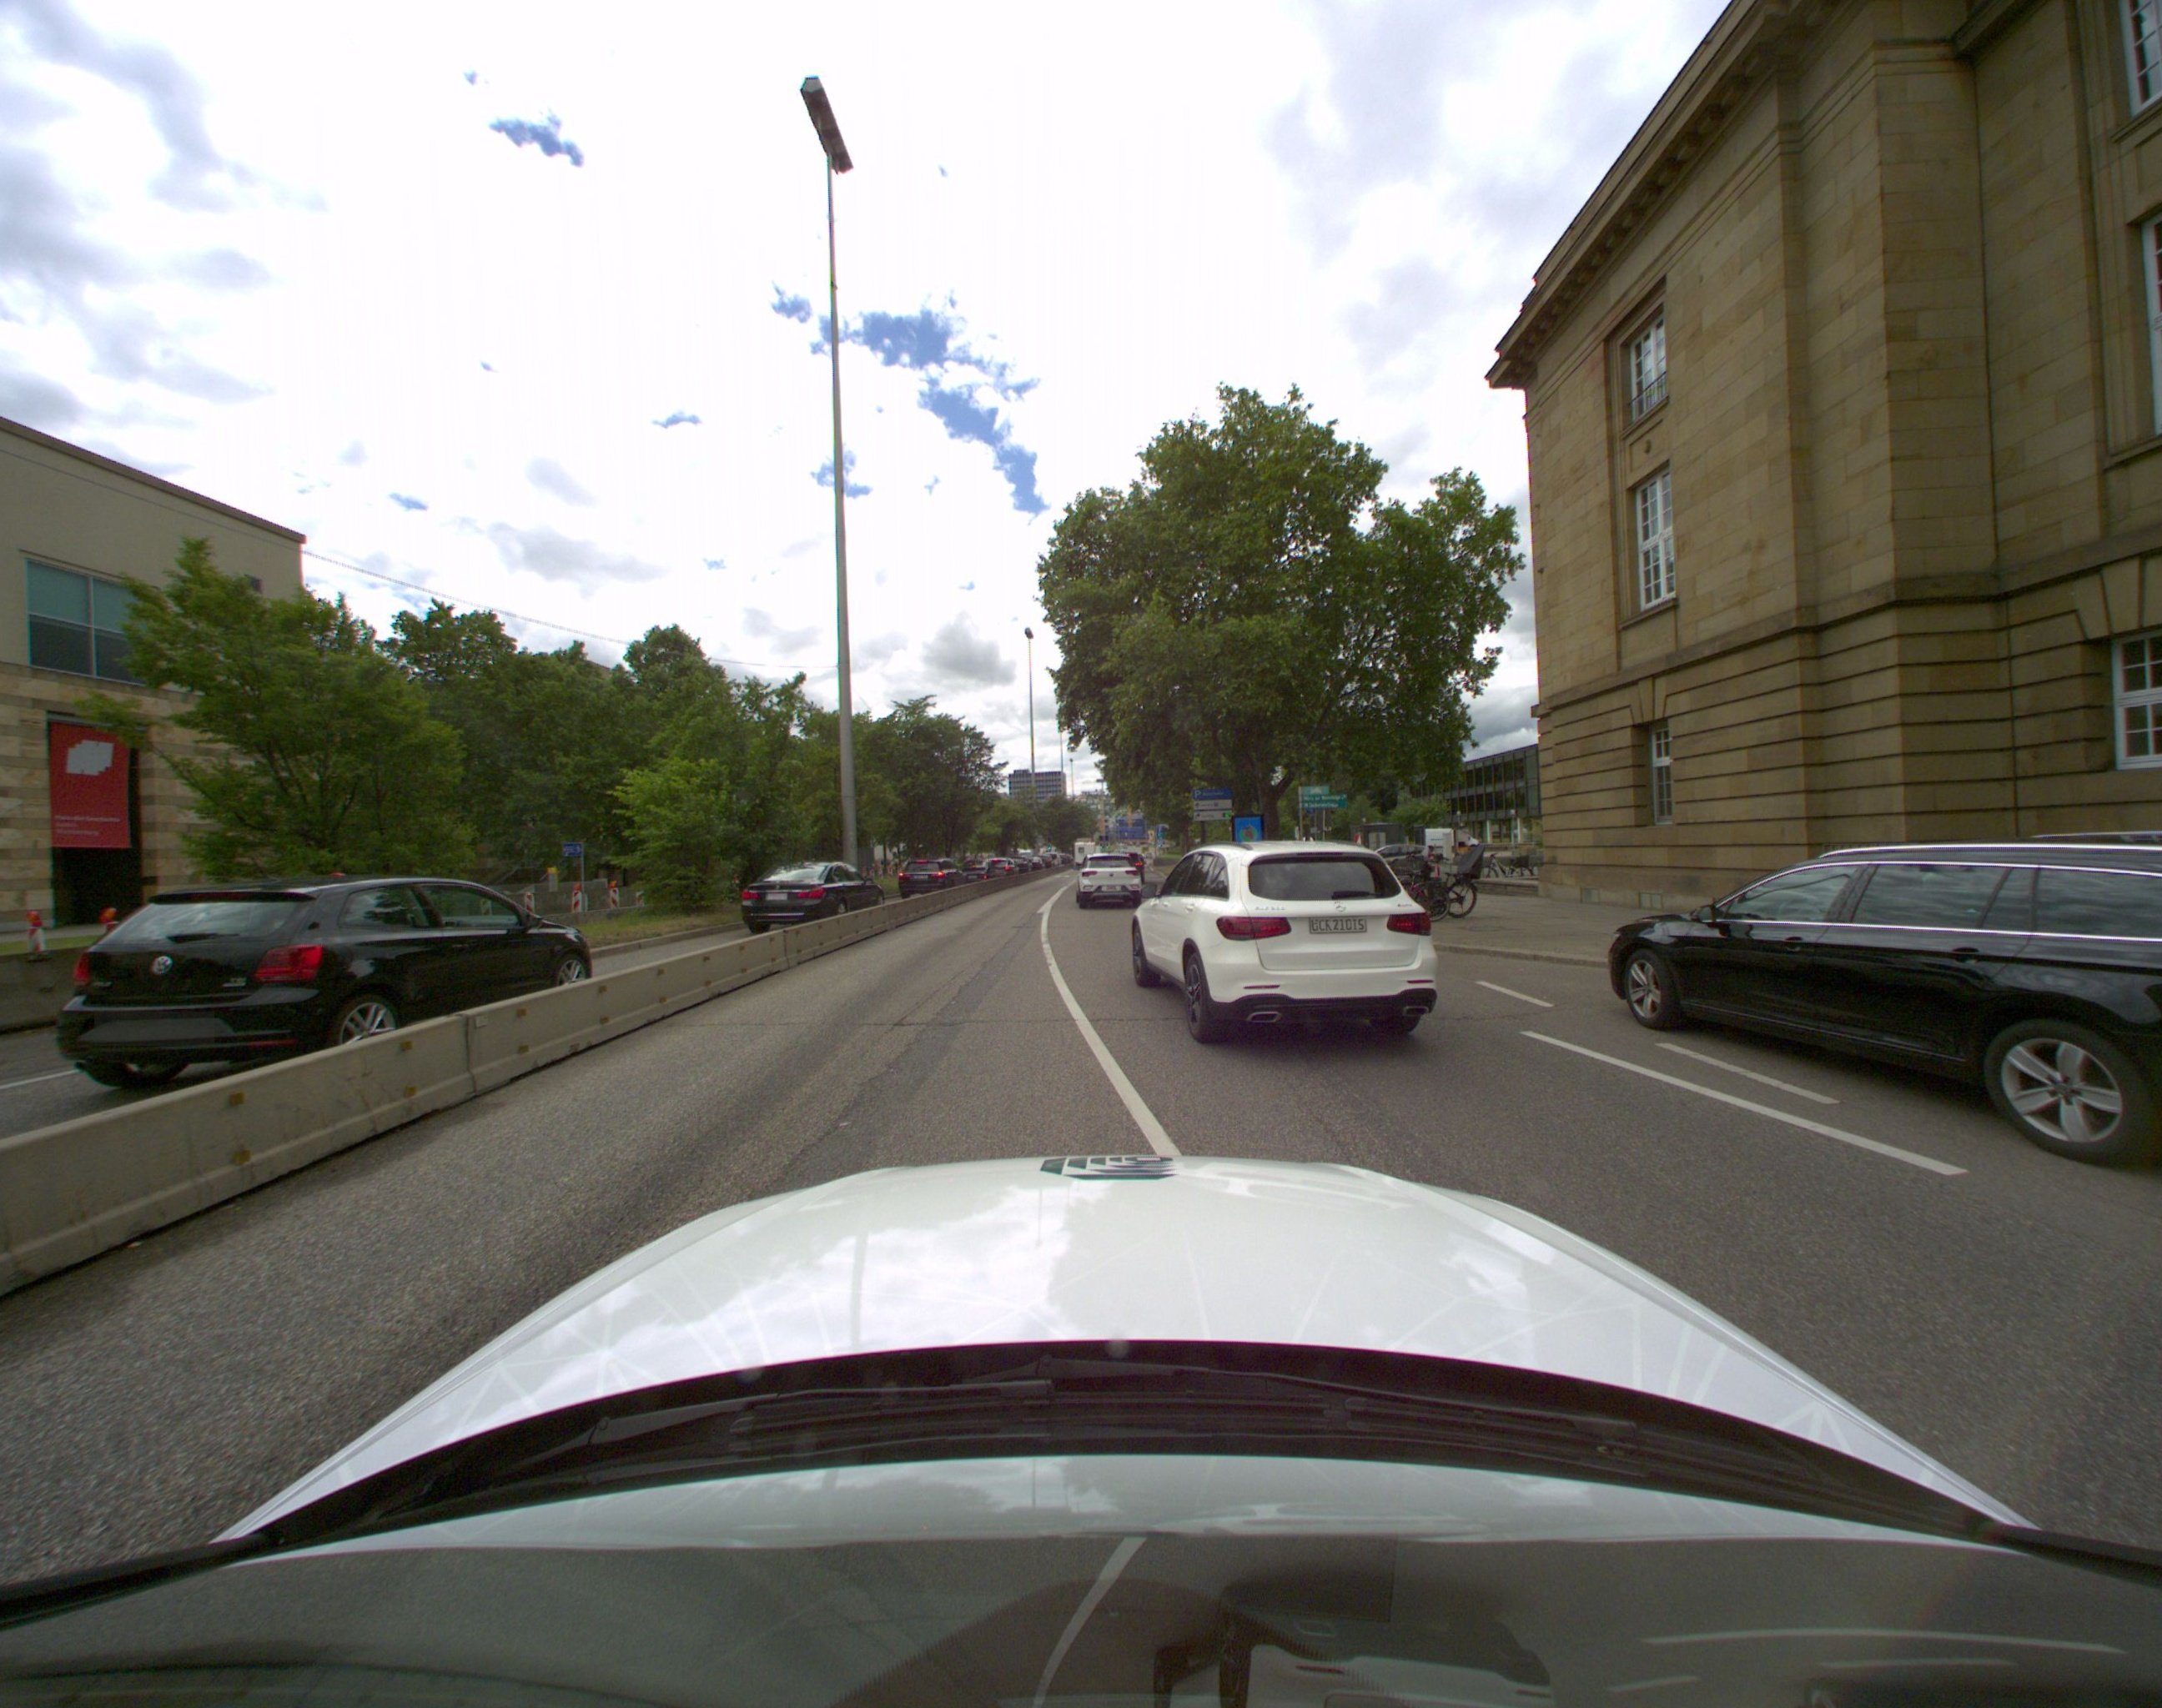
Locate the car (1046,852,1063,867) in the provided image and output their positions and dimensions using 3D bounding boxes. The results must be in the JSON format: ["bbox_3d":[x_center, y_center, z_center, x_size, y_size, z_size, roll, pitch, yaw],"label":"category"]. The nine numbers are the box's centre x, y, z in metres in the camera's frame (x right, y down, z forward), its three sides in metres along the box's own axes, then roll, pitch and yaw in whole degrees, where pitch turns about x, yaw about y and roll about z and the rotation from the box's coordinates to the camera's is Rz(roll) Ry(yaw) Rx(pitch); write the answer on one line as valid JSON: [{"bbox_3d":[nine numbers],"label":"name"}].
[{"bbox_3d":[-2.819,0.617,87.553,1.654,1.513,3.547,-2,-1,0],"label":"car"}]

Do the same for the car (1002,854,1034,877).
[{"bbox_3d":[-4.303,0.759,56.118,1.769,1.420,4.002,-2,0,2],"label":"car"}]

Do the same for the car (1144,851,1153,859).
[{"bbox_3d":[14.741,0.175,178.854,1.751,1.669,4.171,-2,0,3],"label":"car"}]

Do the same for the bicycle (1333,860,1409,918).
[{"bbox_3d":[6.038,0.710,16.936,1.617,1.130,0.466,-1,0,-24],"label":"bicycle"}]

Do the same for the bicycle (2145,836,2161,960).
[{"bbox_3d":[10.355,0.410,7.057,0.274,1.183,1.540,-3,-1,4],"label":"bicycle"}]

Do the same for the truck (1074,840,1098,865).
[{"bbox_3d":[0.683,-0.175,96.276,2.611,2.861,7.081,-1,0,2],"label":"truck"}]

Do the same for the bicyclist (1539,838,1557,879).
[{"bbox_3d":[20.183,0.190,35.210,0.435,1.748,0.474,-2,0,-6],"label":"bicyclist"}]

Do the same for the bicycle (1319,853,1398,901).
[{"bbox_3d":[6.410,0.532,18.884,1.715,1.091,0.382,-1,0,14],"label":"bicycle"}]

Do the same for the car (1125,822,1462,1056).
[{"bbox_3d":[1.667,0.612,8.057,1.785,1.625,4.428,-1,0,-6],"label":"car"}]

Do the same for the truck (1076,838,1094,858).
[{"bbox_3d":[0.649,-0.920,125.050,2.682,2.992,5.639,0,-1,2],"label":"truck"}]

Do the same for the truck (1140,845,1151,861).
[{"bbox_3d":[17.436,-0.234,219.291,2.865,4.103,6.643,0,0,3],"label":"truck"}]

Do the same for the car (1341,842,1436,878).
[{"bbox_3d":[14.407,0.274,38.309,3.821,1.568,1.680,-2,0,2],"label":"car"}]

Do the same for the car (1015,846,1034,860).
[{"bbox_3d":[-8.548,-0.171,123.105,2.107,1.969,5.582,-2,0,3],"label":"car"}]

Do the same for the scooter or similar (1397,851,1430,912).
[{"bbox_3d":[6.921,0.551,16.990,0.423,1.224,1.316,0,-1,12],"label":"scooter or similar"}]

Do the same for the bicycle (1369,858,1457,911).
[{"bbox_3d":[6.524,0.599,16.074,1.552,1.028,0.437,-1,0,13],"label":"bicycle"}]

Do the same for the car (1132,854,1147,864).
[{"bbox_3d":[7.920,0.688,109.805,1.938,1.319,4.020,-1,0,4],"label":"car"}]

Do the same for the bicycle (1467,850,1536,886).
[{"bbox_3d":[13.723,0.455,26.572,2.003,1.125,0.389,-2,-1,1],"label":"bicycle"}]

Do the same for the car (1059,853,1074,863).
[{"bbox_3d":[-1.893,0.542,106.994,1.652,1.319,3.551,-1,0,4],"label":"car"}]

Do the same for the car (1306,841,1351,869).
[{"bbox_3d":[15.386,0.030,50.760,1.753,1.551,4.031,-2,2,3],"label":"car"}]

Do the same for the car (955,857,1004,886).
[{"bbox_3d":[-5.097,0.849,41.435,1.671,1.367,4.545,-2,0,2],"label":"car"}]

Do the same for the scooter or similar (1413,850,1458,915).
[{"bbox_3d":[7.300,0.569,16.813,0.559,1.278,1.151,-1,0,8],"label":"scooter or similar"}]

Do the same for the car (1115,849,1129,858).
[{"bbox_3d":[6.068,-0.093,120.506,1.938,1.319,4.020,-1,0,4],"label":"car"}]

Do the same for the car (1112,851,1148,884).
[{"bbox_3d":[2.538,0.670,42.983,1.654,1.639,3.546,-1,0,0],"label":"car"}]

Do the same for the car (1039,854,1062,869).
[{"bbox_3d":[-2.819,0.713,75.181,1.651,1.319,3.553,-1,0,5],"label":"car"}]

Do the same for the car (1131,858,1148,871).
[{"bbox_3d":[6.727,1.223,93.477,1.938,1.428,4.020,-1,0,4],"label":"car"}]

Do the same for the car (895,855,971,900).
[{"bbox_3d":[-5.480,0.818,30.762,1.809,1.499,4.771,-2,0,2],"label":"car"}]

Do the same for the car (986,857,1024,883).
[{"bbox_3d":[-4.429,0.930,47.828,1.655,1.436,3.962,-1,-1,2],"label":"car"}]

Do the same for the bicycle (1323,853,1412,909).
[{"bbox_3d":[6.331,0.593,18.034,1.752,1.209,0.604,-1,0,-2],"label":"bicycle"}]

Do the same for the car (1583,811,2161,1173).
[{"bbox_3d":[5.367,0.552,5.034,1.782,1.486,4.324,-3,0,0],"label":"car"}]

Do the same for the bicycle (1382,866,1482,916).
[{"bbox_3d":[6.769,0.717,15.770,1.713,0.917,0.617,-2,-1,20],"label":"bicycle"}]

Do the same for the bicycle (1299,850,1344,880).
[{"bbox_3d":[10.390,0.467,35.154,1.776,1.221,0.493,-2,0,4],"label":"bicycle"}]

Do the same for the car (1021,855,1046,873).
[{"bbox_3d":[-3.738,0.772,64.886,1.653,1.319,3.549,-1,0,2],"label":"car"}]

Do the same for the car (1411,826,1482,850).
[{"bbox_3d":[36.873,-1.609,82.374,6.080,2.260,2.404,-2,0,4],"label":"car"}]

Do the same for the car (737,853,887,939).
[{"bbox_3d":[-5.783,0.826,18.215,1.919,1.636,4.931,-1,0,-3],"label":"car"}]

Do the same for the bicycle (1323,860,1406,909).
[{"bbox_3d":[6.410,0.689,18.489,1.717,1.091,0.576,-1,0,10],"label":"bicycle"}]

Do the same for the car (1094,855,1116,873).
[{"bbox_3d":[1.887,0.786,64.462,1.653,1.413,3.549,-1,-1,2],"label":"car"}]

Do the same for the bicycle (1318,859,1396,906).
[{"bbox_3d":[6.541,0.663,19.349,1.715,1.091,0.427,-1,0,14],"label":"bicycle"}]

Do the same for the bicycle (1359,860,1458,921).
[{"bbox_3d":[6.037,0.670,15.065,1.648,1.074,0.588,-1,0,21],"label":"bicycle"}]

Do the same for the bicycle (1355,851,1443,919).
[{"bbox_3d":[6.044,0.582,15.512,1.529,1.257,0.546,-1,0,20],"label":"bicycle"}]

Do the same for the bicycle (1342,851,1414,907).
[{"bbox_3d":[6.298,0.519,17.266,1.617,1.130,0.405,-1,0,-25],"label":"bicycle"}]

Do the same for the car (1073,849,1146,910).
[{"bbox_3d":[0.756,0.704,24.086,1.792,1.608,3.750,-1,0,-4],"label":"car"}]

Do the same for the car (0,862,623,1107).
[{"bbox_3d":[-5.961,0.816,7.115,1.655,1.454,4.194,-1,0,-2],"label":"car"}]

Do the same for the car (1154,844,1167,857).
[{"bbox_3d":[12.808,-0.483,131.579,1.985,2.014,4.004,-1,0,4],"label":"car"}]
